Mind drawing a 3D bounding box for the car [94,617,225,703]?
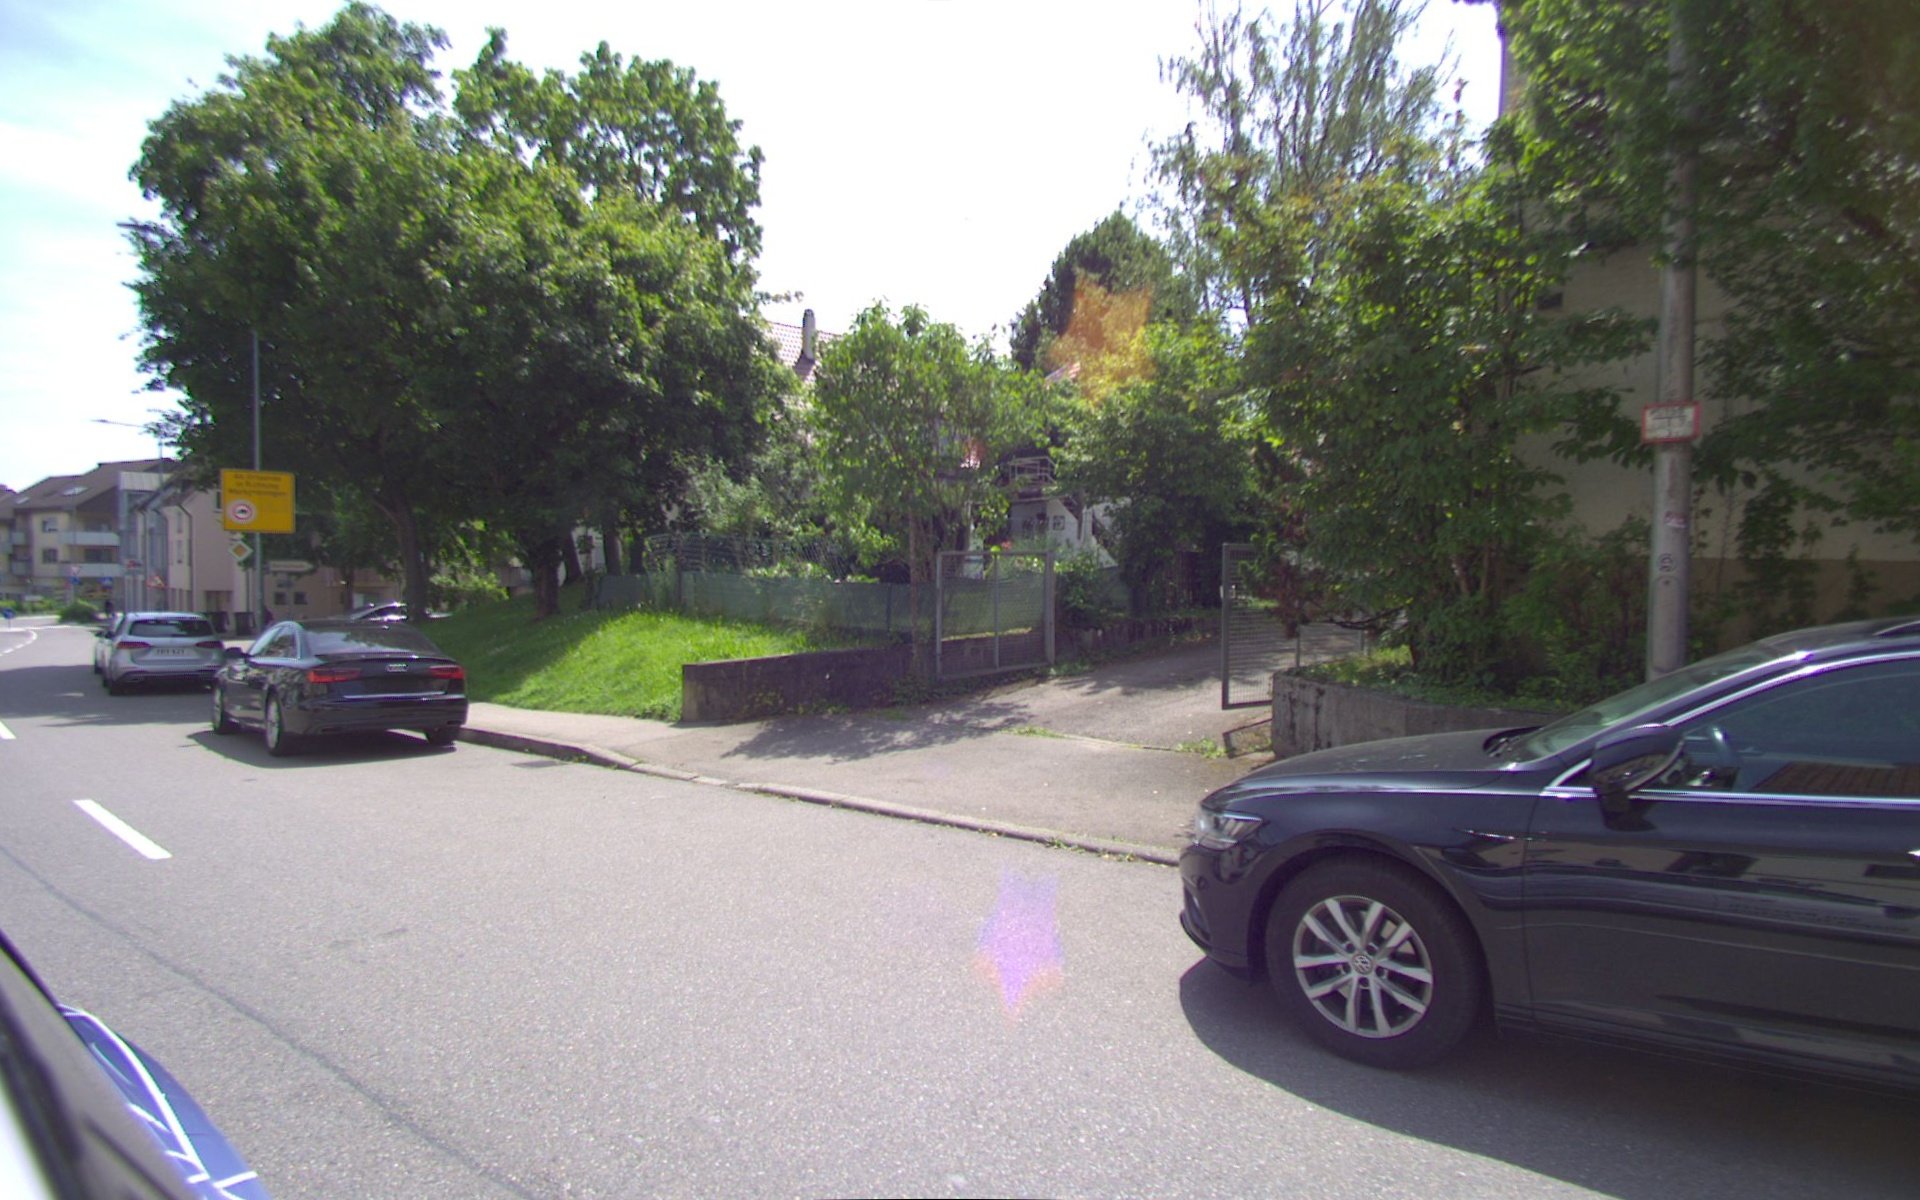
[{"bbox_3d":[-16.047,1.119,20.196,1.751,1.539,4.227,2,-2,-42],"label":"car"}]

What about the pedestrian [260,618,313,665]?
[{"bbox_3d":[-19.816,1.213,29.782,1.221,1.278,0.648,-2,2,-39],"label":"pedestrian"}]

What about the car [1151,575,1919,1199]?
[{"bbox_3d":[3.052,0.684,2.812,4.707,1.474,1.771,-1,-1,39],"label":"car"}]

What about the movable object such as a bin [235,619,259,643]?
[{"bbox_3d":[-32.400,1.400,45.977,0.762,1.007,0.610,-5,5,-40],"label":"movable object such as a bin"}]

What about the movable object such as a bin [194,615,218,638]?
[{"bbox_3d":[-35.089,1.220,47.099,0.841,1.008,0.695,-1,1,-41],"label":"movable object such as a bin"}]

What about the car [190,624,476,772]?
[{"bbox_3d":[-7.720,1.024,12.224,4.929,1.434,1.784,-2,-2,44],"label":"car"}]

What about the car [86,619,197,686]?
[{"bbox_3d":[-20.080,1.215,24.764,1.734,1.478,4.366,2,-2,-43],"label":"car"}]

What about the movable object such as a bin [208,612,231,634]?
[{"bbox_3d":[-34.879,1.074,47.688,0.790,1.008,0.806,-3,2,-41],"label":"movable object such as a bin"}]

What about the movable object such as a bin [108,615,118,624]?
[{"bbox_3d":[-62.358,1.438,74.514,0.468,0.586,0.453,0,1,39],"label":"movable object such as a bin"}]

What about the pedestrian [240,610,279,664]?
[{"bbox_3d":[-21.448,1.120,30.989,0.626,1.628,0.726,0,1,27],"label":"pedestrian"}]

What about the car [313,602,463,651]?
[{"bbox_3d":[-22.230,0.961,39.544,1.991,1.490,4.746,0,3,28],"label":"car"}]

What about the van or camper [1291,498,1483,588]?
[{"bbox_3d":[10.724,-1.368,25.581,1.970,2.028,4.003,-3,1,-44],"label":"van or camper"}]

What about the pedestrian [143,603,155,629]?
[{"bbox_3d":[-54.427,1.075,67.932,0.568,1.722,0.580,-3,2,-41],"label":"pedestrian"}]

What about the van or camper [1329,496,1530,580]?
[{"bbox_3d":[13.019,-1.660,28.194,4.806,2.028,1.977,-1,1,35],"label":"van or camper"}]

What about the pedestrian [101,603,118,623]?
[{"bbox_3d":[-62.736,0.965,74.621,0.956,1.489,0.792,0,1,39],"label":"pedestrian"}]
